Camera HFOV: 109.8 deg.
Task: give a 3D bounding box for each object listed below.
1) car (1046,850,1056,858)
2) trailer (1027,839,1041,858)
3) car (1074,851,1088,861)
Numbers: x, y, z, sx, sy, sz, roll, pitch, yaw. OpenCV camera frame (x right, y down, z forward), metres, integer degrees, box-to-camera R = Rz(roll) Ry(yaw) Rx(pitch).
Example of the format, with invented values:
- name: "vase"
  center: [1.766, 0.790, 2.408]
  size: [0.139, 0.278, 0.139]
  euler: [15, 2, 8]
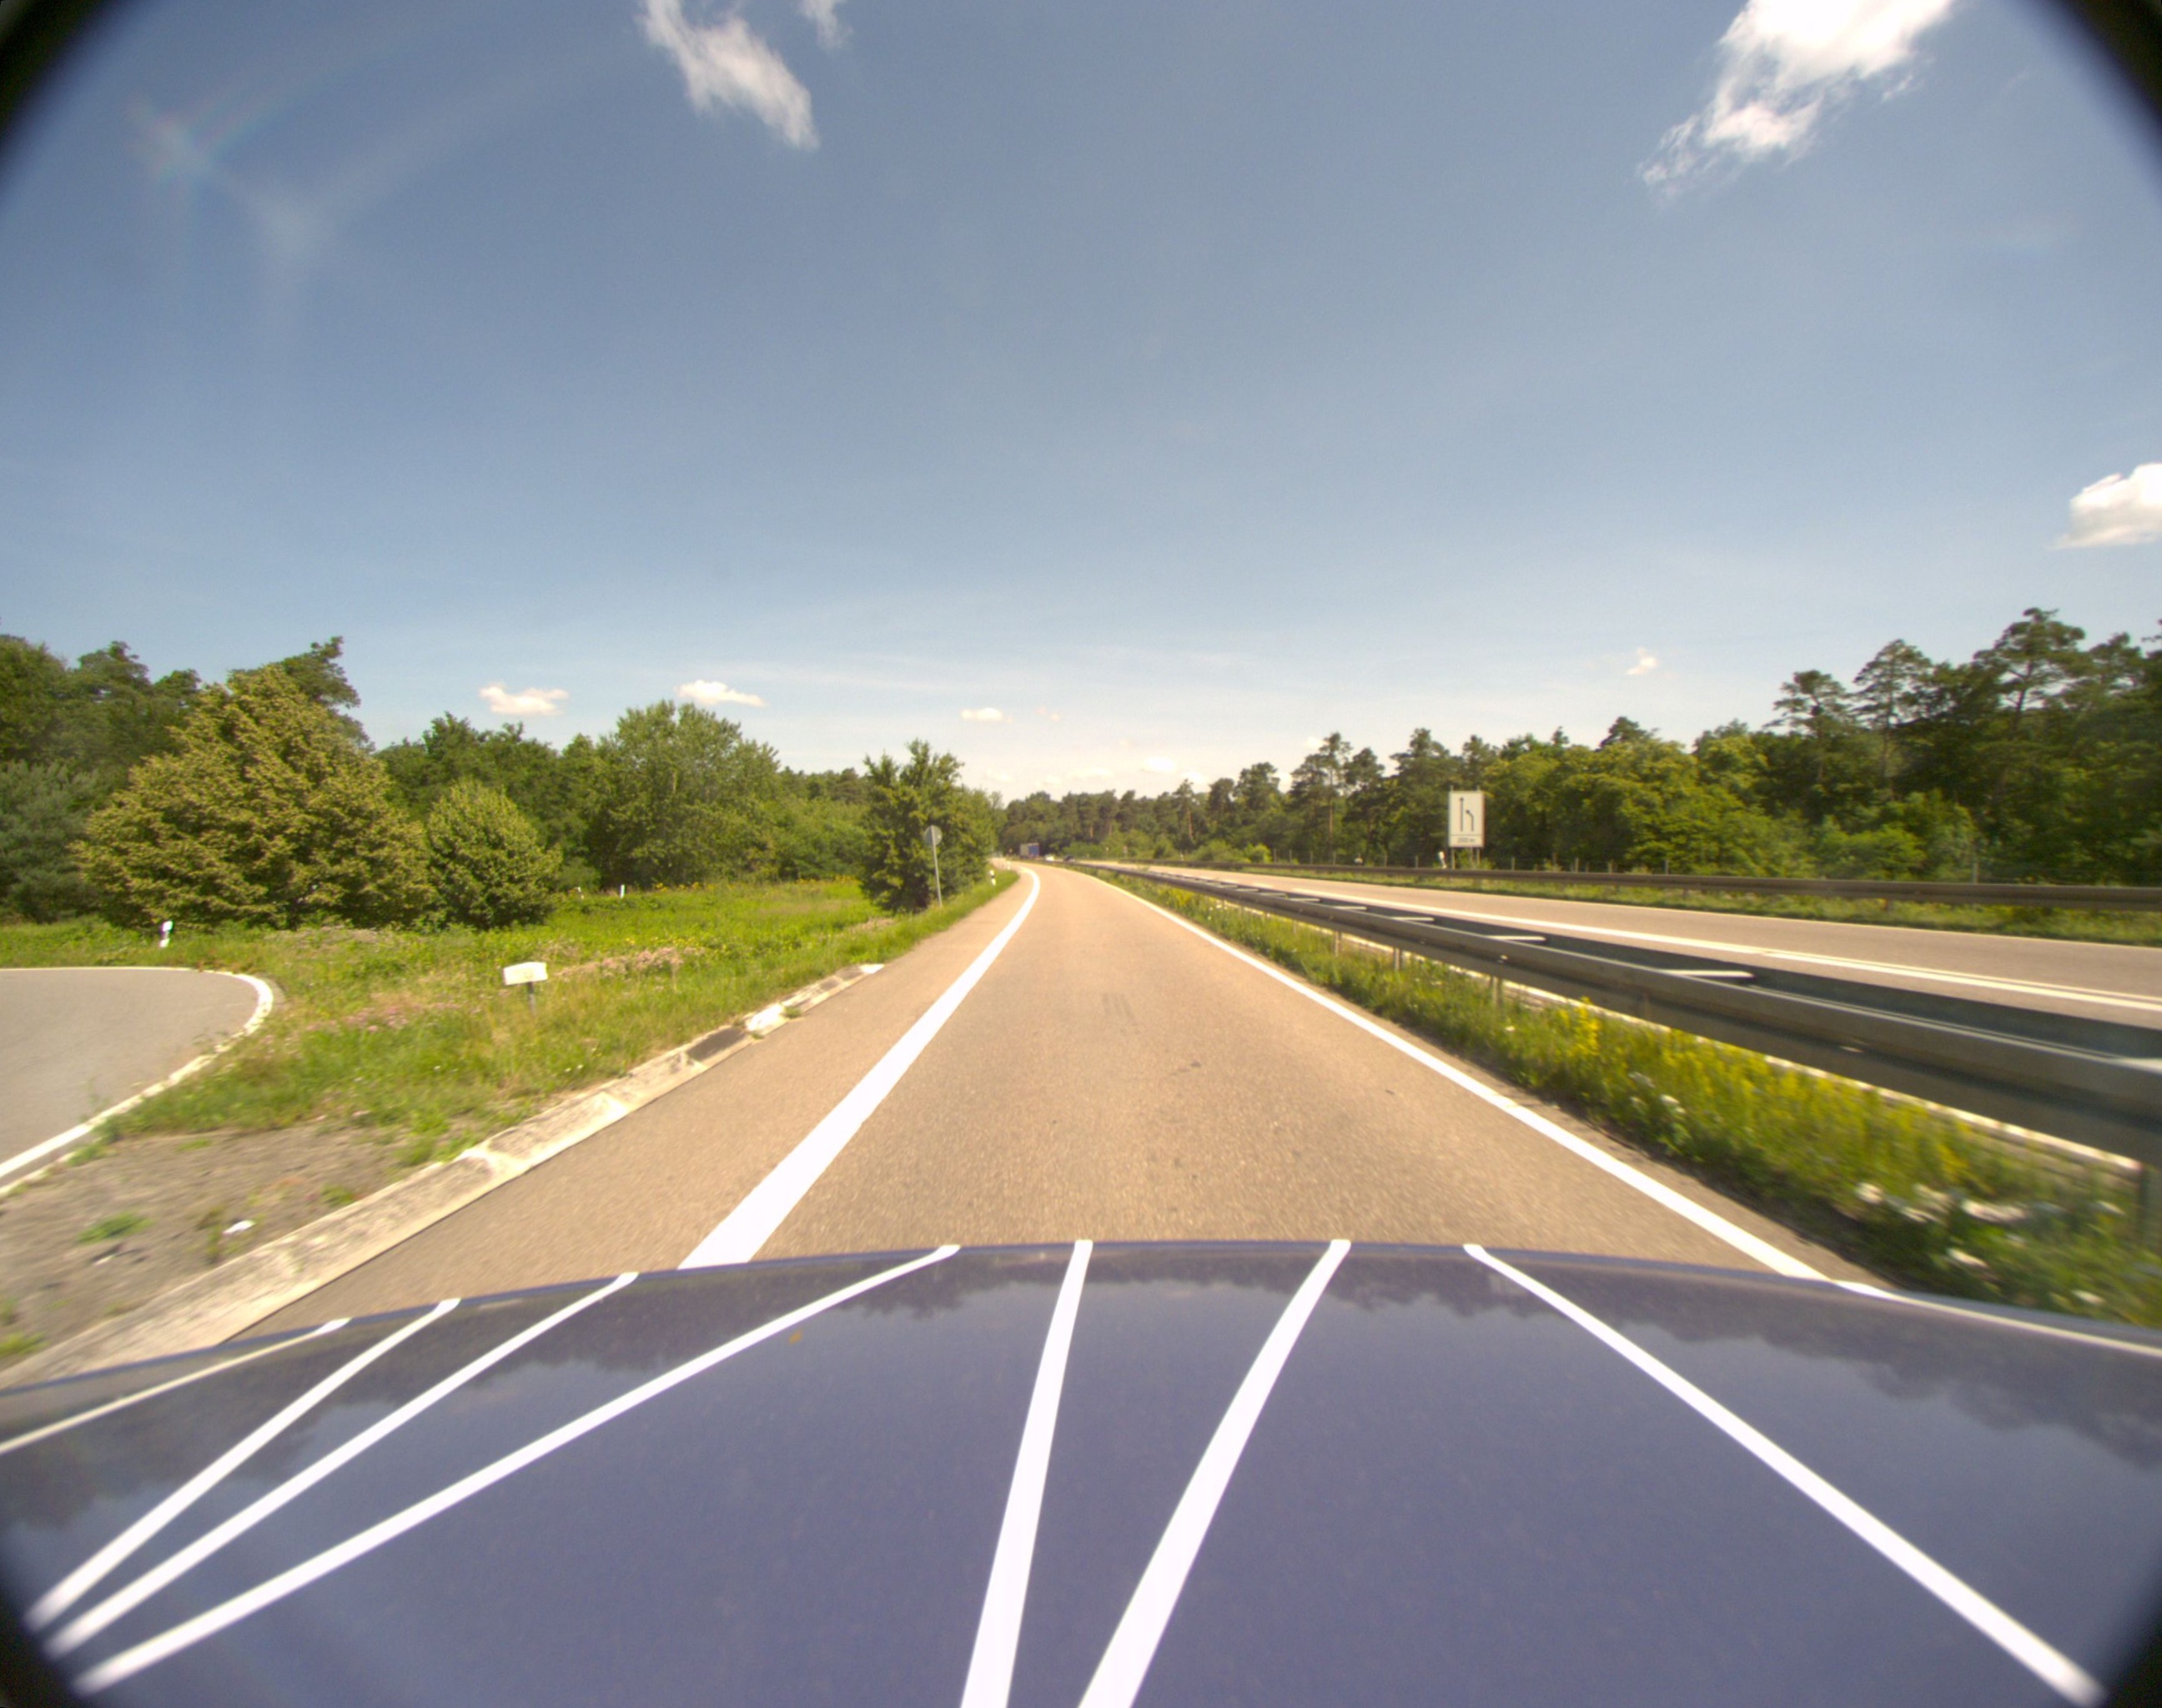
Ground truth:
- name: "car"
  center: [-6.092, -0.012, 153.571]
  size: [1.799, 1.436, 4.604]
  euler: [-2, 1, -5]
- name: "trailer"
  center: [-11.525, -1.344, 185.736]
  size: [2.754, 4.149, 14.573]
  euler: [-3, 1, -6]
- name: "car"
  center: [-0.064, 0.265, 124.536]
  size: [1.761, 1.492, 4.571]
  euler: [-3, 0, -6]
